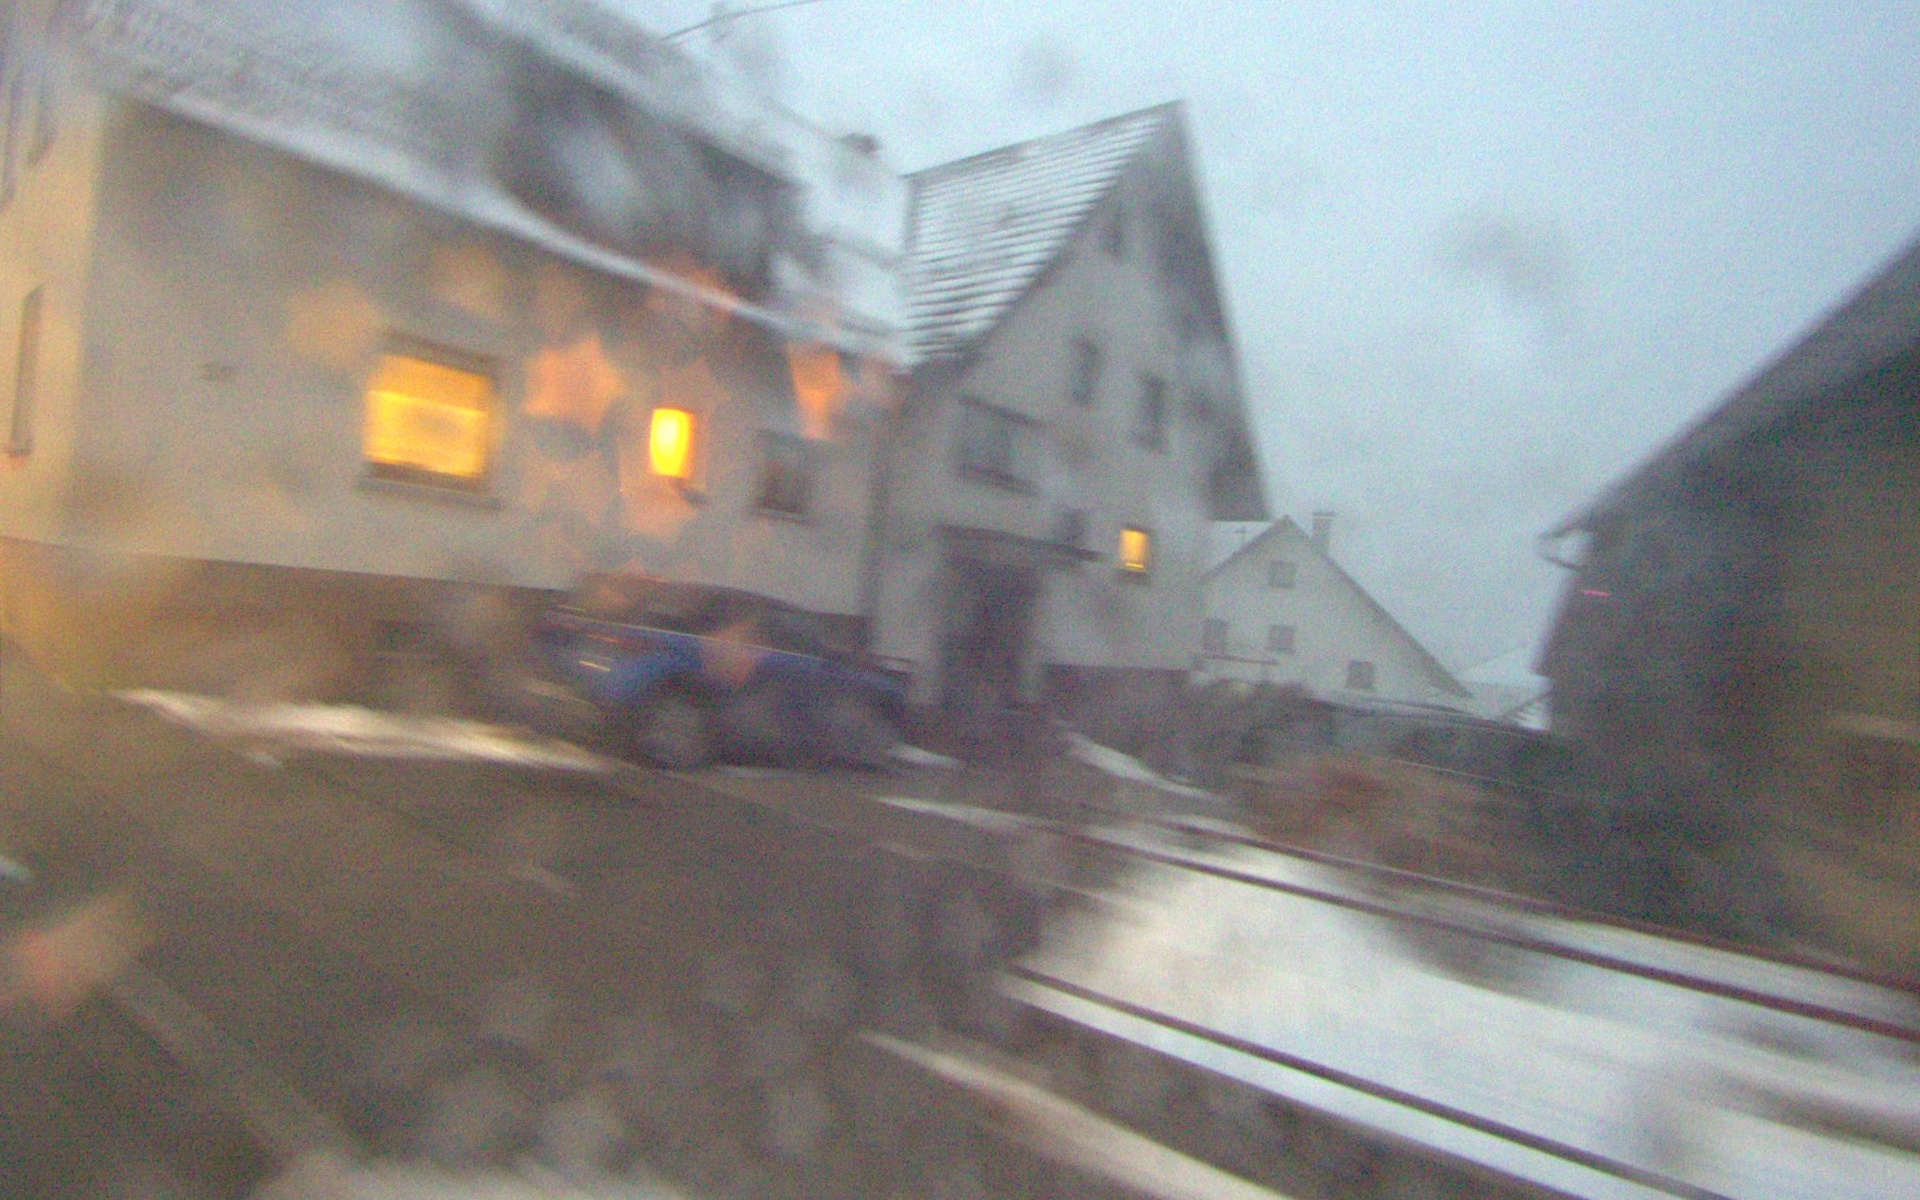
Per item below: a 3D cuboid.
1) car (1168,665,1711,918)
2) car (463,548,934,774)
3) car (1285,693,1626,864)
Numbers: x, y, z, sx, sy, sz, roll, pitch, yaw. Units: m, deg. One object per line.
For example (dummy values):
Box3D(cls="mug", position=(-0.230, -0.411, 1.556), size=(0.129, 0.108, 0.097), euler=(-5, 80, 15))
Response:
Box3D(cls="car", position=(3.989, 1.586, 8.441), size=(3.948, 1.388, 1.751), euler=(11, -3, -20))
Box3D(cls="car", position=(-2.277, 0.659, 9.720), size=(1.881, 1.613, 3.992), euler=(6, -3, 36))
Box3D(cls="car", position=(5.837, 2.089, 11.911), size=(3.346, 1.374, 1.674), euler=(11, -3, -20))
